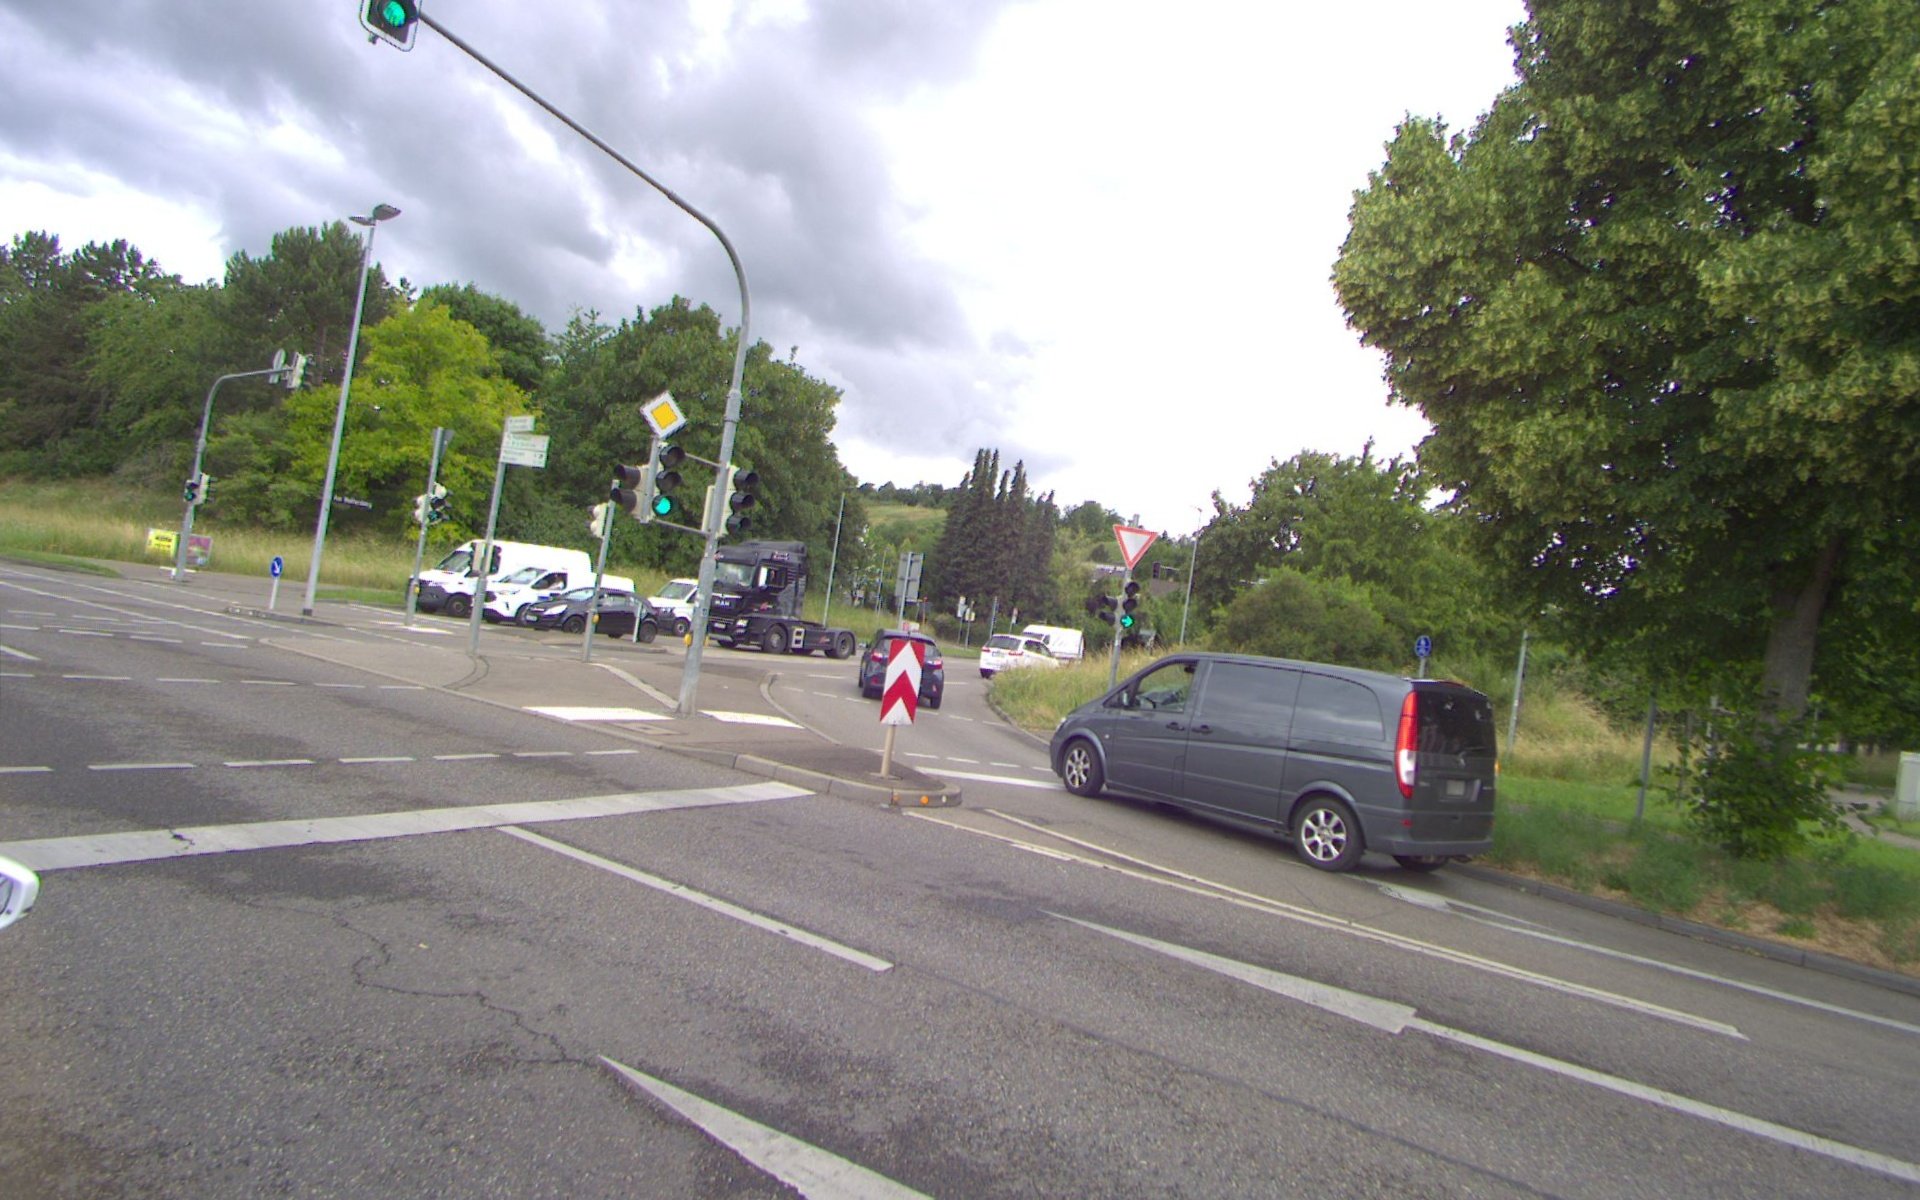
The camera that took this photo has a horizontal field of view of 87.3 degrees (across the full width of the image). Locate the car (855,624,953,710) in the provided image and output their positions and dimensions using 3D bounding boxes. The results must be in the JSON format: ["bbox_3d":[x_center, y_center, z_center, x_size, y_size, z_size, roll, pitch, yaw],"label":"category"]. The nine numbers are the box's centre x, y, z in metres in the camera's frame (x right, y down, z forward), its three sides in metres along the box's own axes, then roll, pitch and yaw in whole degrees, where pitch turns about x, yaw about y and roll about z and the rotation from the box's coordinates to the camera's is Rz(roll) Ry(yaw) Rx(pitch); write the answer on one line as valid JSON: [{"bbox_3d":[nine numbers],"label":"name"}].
[{"bbox_3d":[-1.310,1.393,22.115,1.599,1.446,3.611,10,-2,-8],"label":"car"}]

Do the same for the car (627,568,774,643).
[{"bbox_3d":[-10.425,0.292,40.907,2.100,2.316,5.709,7,-1,32],"label":"car"}]

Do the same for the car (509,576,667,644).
[{"bbox_3d":[-10.606,0.337,28.932,1.703,1.453,3.927,7,-1,31],"label":"car"}]

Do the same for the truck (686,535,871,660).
[{"bbox_3d":[-6.211,0.026,35.343,2.682,3.580,6.061,7,-1,32],"label":"truck"}]

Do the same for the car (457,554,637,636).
[{"bbox_3d":[-12.933,-0.093,31.818,1.999,1.918,4.862,7,-1,31],"label":"car"}]

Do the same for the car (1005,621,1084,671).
[{"bbox_3d":[5.615,3.041,65.551,2.160,2.640,6.509,7,-1,32],"label":"car"}]

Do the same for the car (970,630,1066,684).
[{"bbox_3d":[2.219,2.142,37.054,1.752,1.613,4.457,8,-1,26],"label":"car"}]

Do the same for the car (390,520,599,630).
[{"bbox_3d":[-15.336,-0.735,33.600,2.100,2.814,5.903,7,-1,32],"label":"car"}]

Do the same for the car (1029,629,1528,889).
[{"bbox_3d":[3.095,1.528,10.762,1.909,1.852,4.676,12,-5,-36],"label":"car"}]
